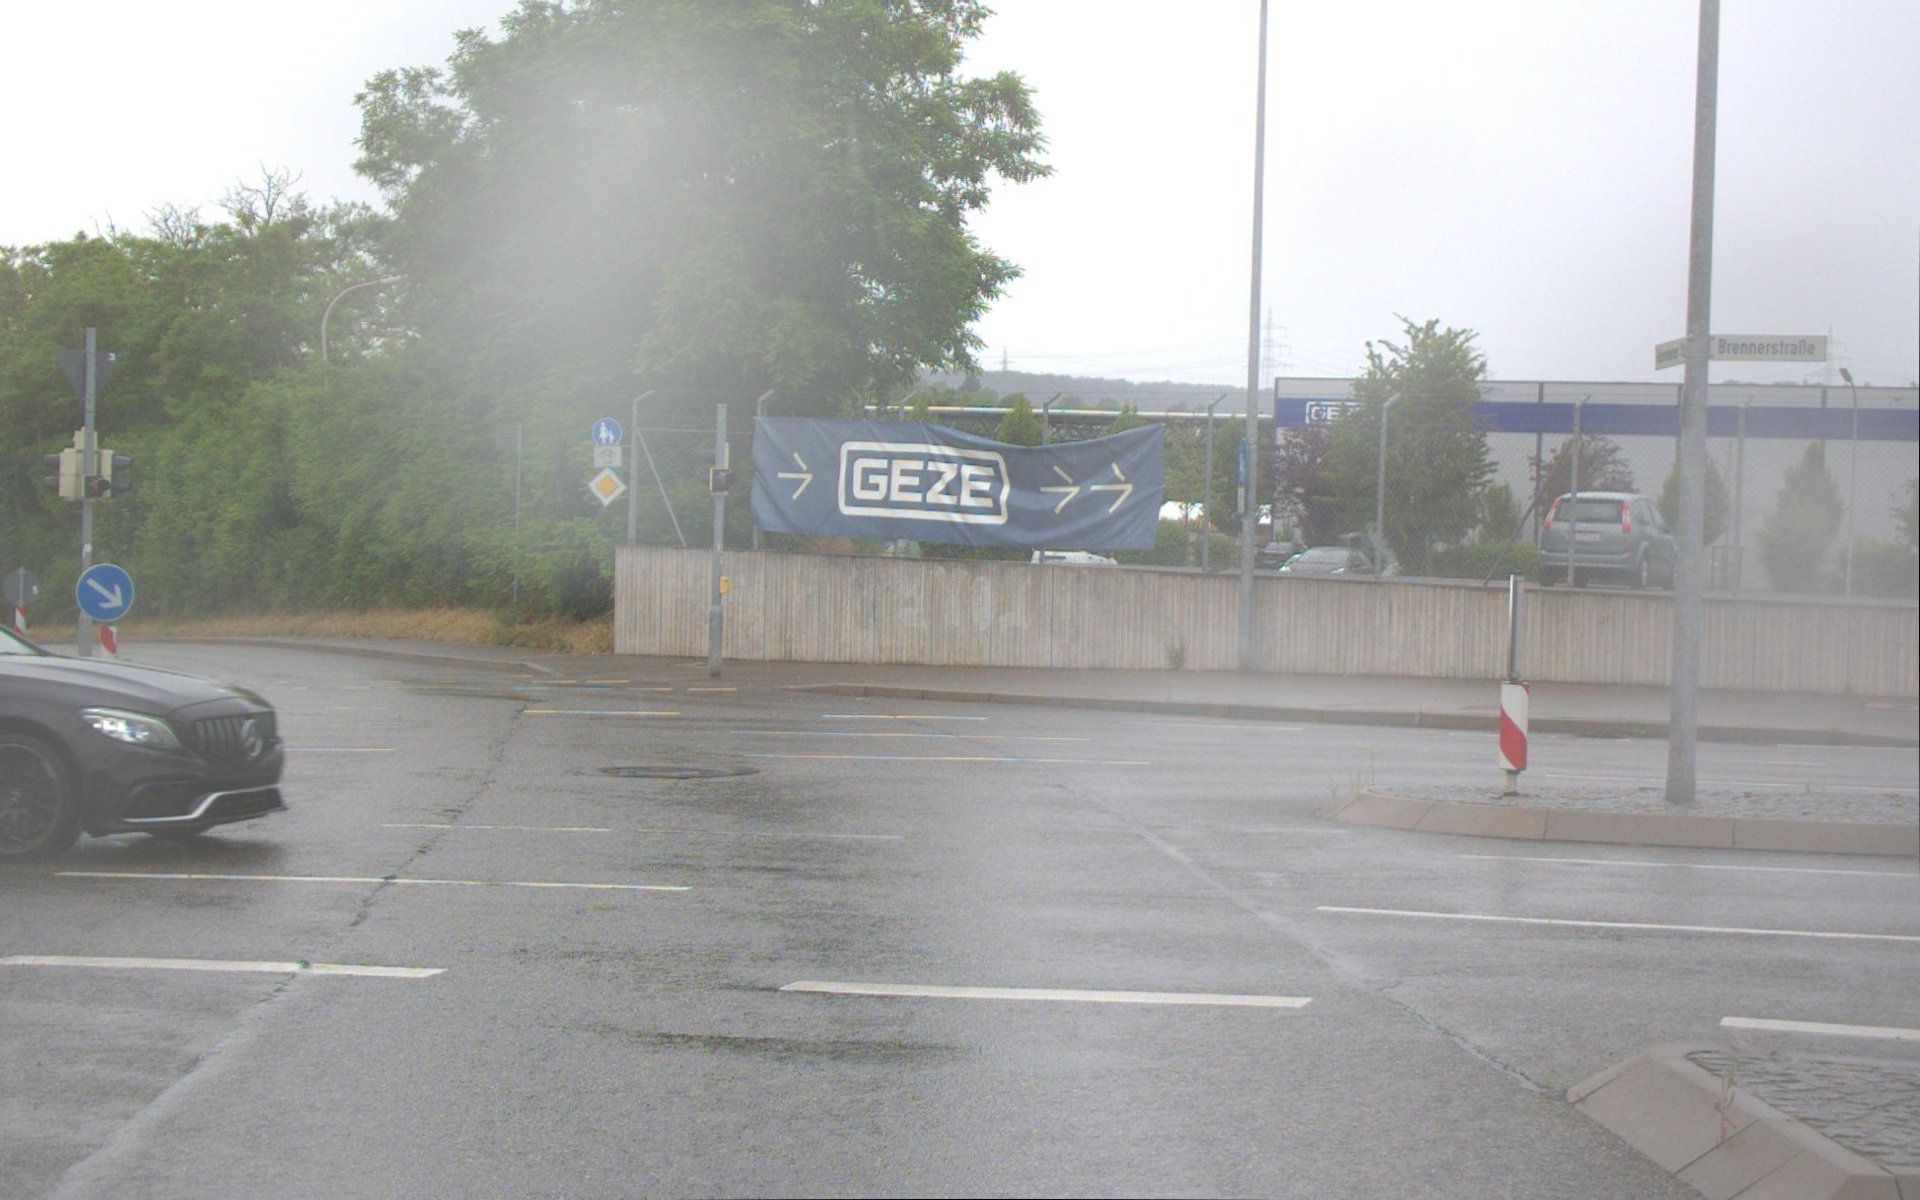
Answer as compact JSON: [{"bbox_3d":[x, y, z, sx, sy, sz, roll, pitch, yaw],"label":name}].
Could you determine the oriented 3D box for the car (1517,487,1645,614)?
[{"bbox_3d":[10.446,-0.838,57.674,1.994,2.007,3.998,1,1,11],"label":"car"}]

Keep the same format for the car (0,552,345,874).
[{"bbox_3d":[-5.782,0.479,17.861,4.662,1.471,1.999,2,1,15],"label":"car"}]
